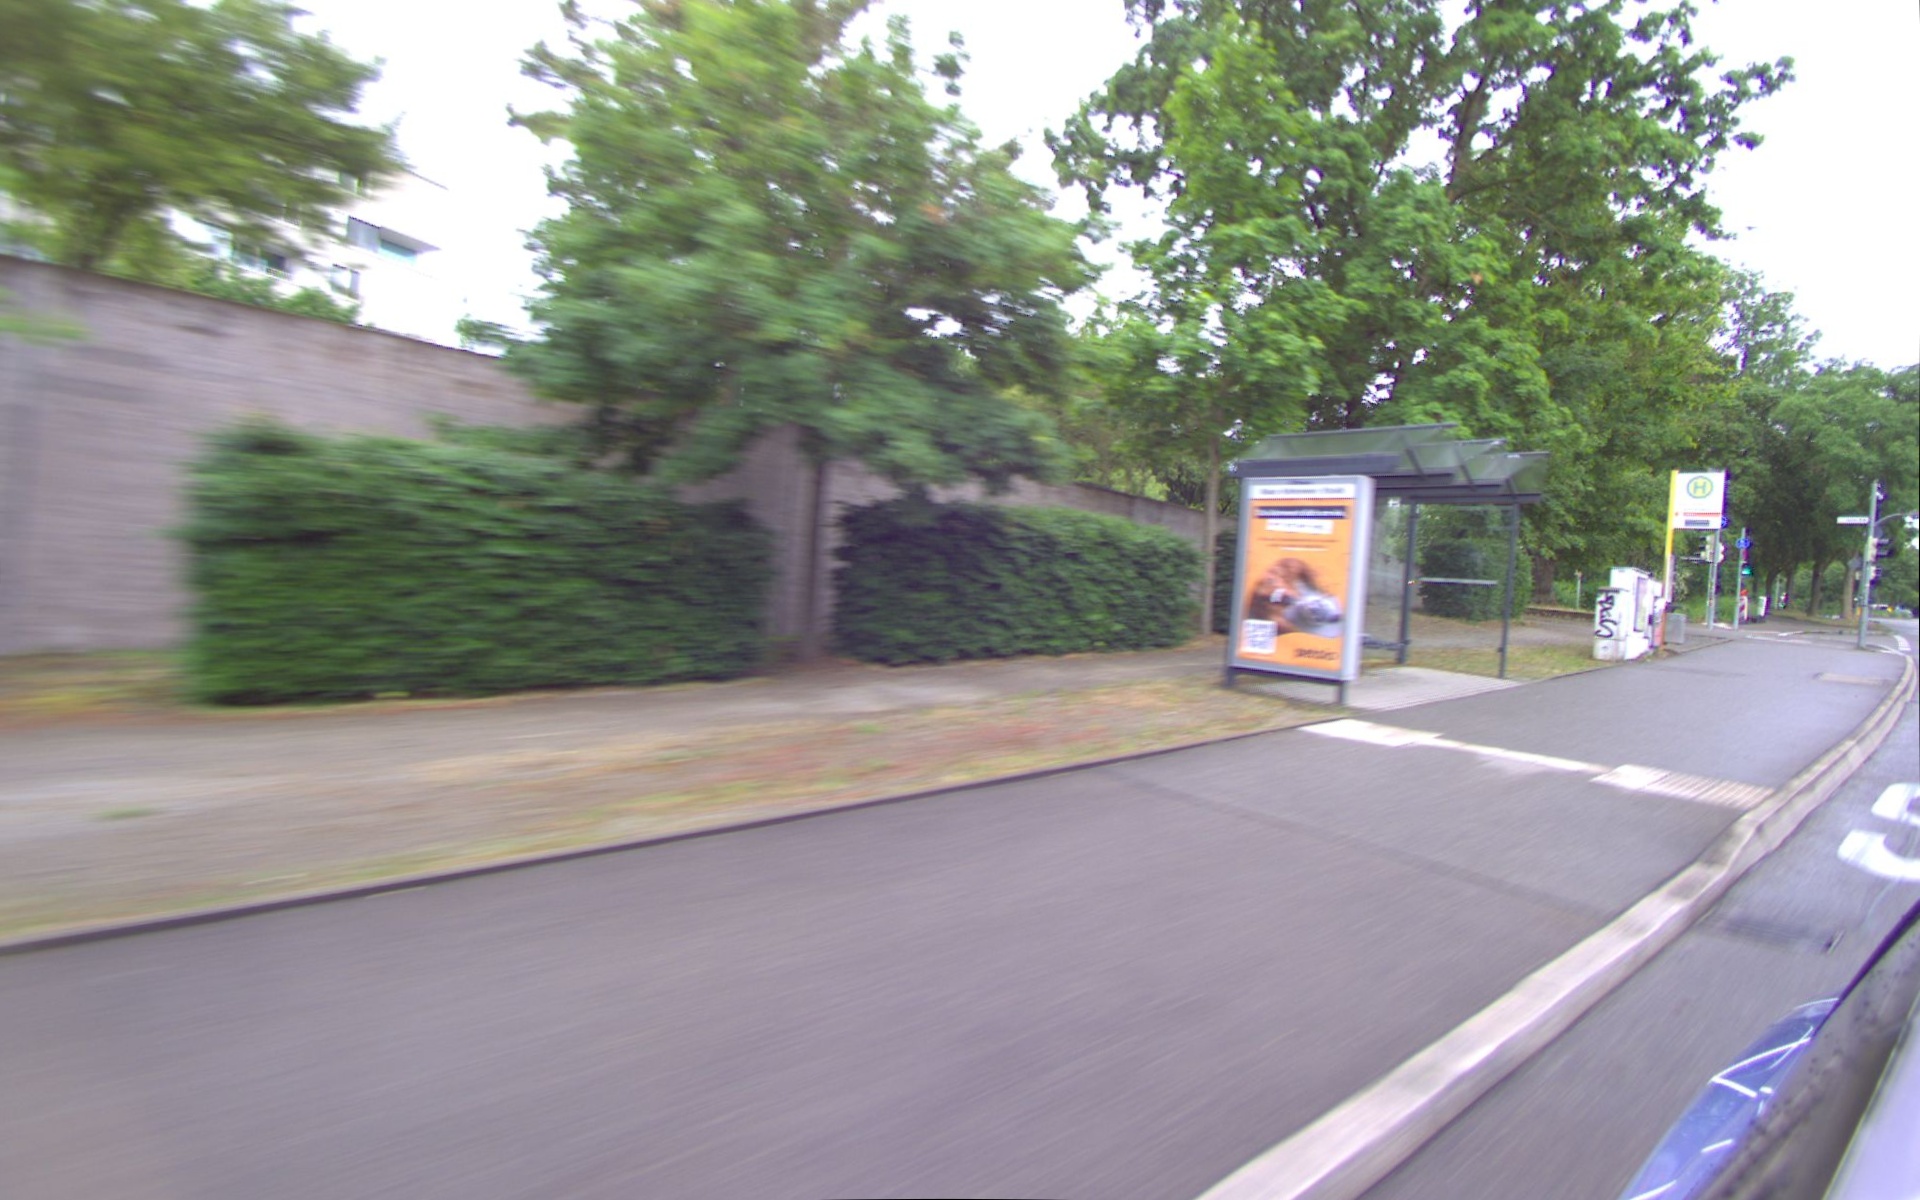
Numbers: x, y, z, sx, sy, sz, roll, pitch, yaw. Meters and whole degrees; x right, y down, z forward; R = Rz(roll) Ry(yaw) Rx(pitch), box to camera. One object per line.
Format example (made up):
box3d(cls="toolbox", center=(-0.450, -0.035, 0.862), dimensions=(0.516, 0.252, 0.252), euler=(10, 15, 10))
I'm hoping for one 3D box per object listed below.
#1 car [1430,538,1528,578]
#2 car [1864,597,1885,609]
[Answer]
box3d(cls="car", center=(23.649, -1.918, 46.214), dimensions=(3.869, 1.566, 1.863), euler=(4, 2, 28))
box3d(cls="car", center=(140.730, 0.484, 155.749), dimensions=(1.990, 1.771, 3.945), euler=(3, 2, 38))
